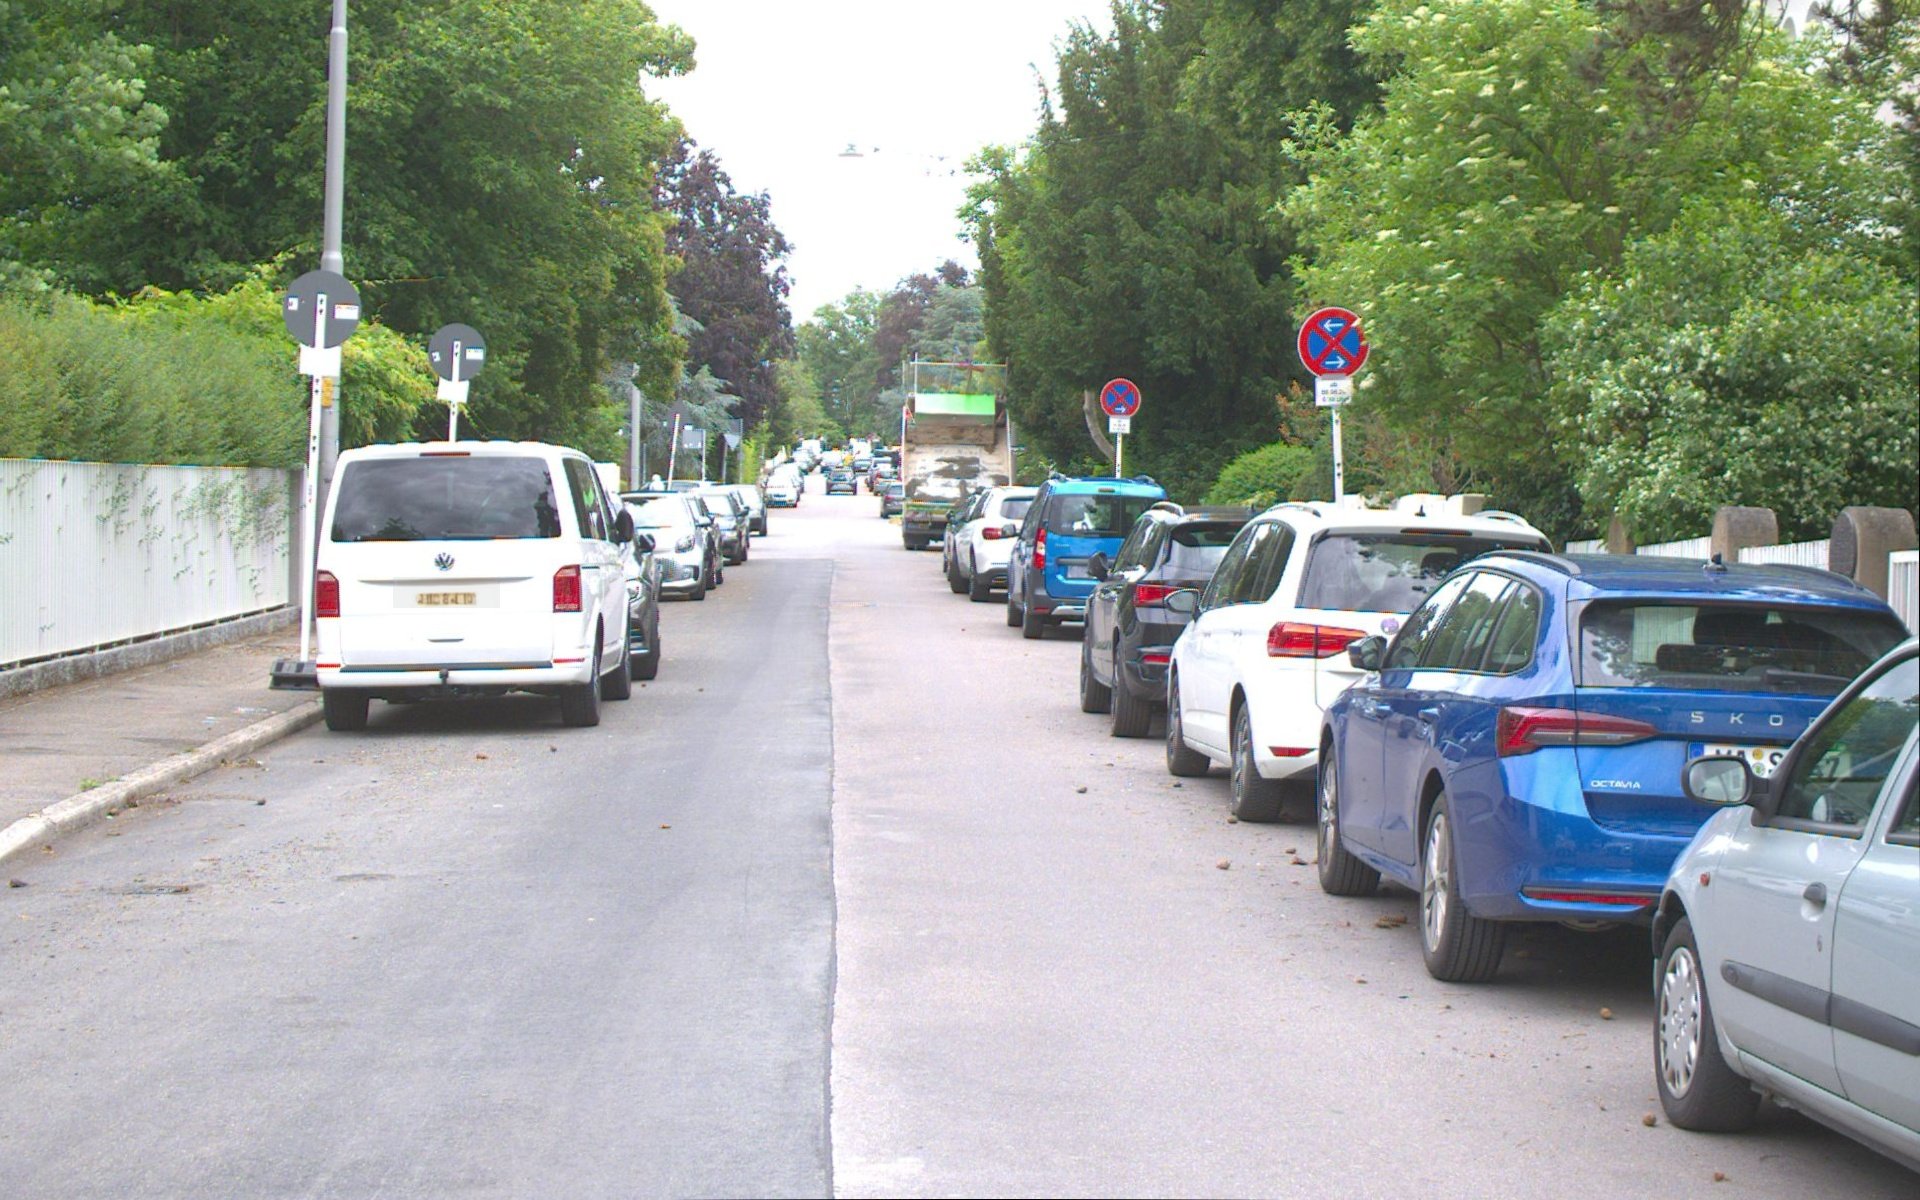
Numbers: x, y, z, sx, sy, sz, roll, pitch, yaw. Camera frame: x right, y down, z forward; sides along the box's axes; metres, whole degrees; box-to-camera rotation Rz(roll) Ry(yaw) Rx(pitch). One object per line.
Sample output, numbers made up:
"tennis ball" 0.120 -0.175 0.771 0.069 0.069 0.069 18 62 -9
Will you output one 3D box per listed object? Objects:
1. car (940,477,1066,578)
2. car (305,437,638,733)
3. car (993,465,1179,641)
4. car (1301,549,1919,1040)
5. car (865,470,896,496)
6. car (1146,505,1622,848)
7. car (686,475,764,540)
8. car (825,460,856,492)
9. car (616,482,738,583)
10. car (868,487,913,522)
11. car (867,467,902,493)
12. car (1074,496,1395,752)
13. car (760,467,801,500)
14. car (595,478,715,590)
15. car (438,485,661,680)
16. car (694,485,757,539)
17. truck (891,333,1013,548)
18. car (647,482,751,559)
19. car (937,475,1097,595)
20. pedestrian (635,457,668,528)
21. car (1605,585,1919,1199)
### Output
"car" 0.659 -1.203 56.072 1.698 1.565 4.309 1 2 -4
"car" -3.423 -0.155 24.897 1.854 1.907 4.620 -1 1 -2
"car" 1.386 -0.590 39.252 1.682 1.823 4.158 3 2 -3
"car" 2.371 0.579 12.647 1.647 1.453 4.052 2 1 -2
"car" -4.680 -6.908 202.838 1.789 1.524 3.734 2 2 -1
"car" 2.197 0.319 18.998 1.784 1.598 4.305 3 2 -3
"car" -5.391 -2.149 79.140 1.595 1.428 4.001 -1 2 -1
"car" -6.743 -6.997 193.963 1.633 1.695 3.495 2 2 -3
"car" -4.401 -1.087 53.907 1.655 1.476 3.888 -2 2 -1
"car" -3.057 -4.199 150.292 1.778 1.484 4.001 1 2 -3
"car" -4.293 -6.772 193.943 1.810 1.331 3.633 3 3 -3
"car" 1.882 0.115 24.744 1.750 1.602 4.076 3 1 -2
"car" -8.883 -5.790 170.400 1.711 1.580 4.000 2 2 1
"car" -4.366 -0.968 49.142 1.621 1.528 2.963 -1 2 -5
"car" -3.608 -0.219 30.861 1.790 1.617 4.344 0 2 -4
"car" -6.389 -2.419 93.900 1.636 1.390 3.990 -1 2 -3
"truck" -0.259 -3.697 80.785 2.524 4.732 7.188 2 2 -1
"car" -5.043 -1.567 66.857 1.641 1.417 4.550 -1 2 0
"car" 0.785 -0.985 50.198 1.757 1.600 4.576 2 2 -6
"pedestrian" -8.977 -3.125 100.051 0.852 2.006 0.701 3 1 -7
"car" 2.654 0.743 7.684 1.573 1.395 3.656 3 1 -2
